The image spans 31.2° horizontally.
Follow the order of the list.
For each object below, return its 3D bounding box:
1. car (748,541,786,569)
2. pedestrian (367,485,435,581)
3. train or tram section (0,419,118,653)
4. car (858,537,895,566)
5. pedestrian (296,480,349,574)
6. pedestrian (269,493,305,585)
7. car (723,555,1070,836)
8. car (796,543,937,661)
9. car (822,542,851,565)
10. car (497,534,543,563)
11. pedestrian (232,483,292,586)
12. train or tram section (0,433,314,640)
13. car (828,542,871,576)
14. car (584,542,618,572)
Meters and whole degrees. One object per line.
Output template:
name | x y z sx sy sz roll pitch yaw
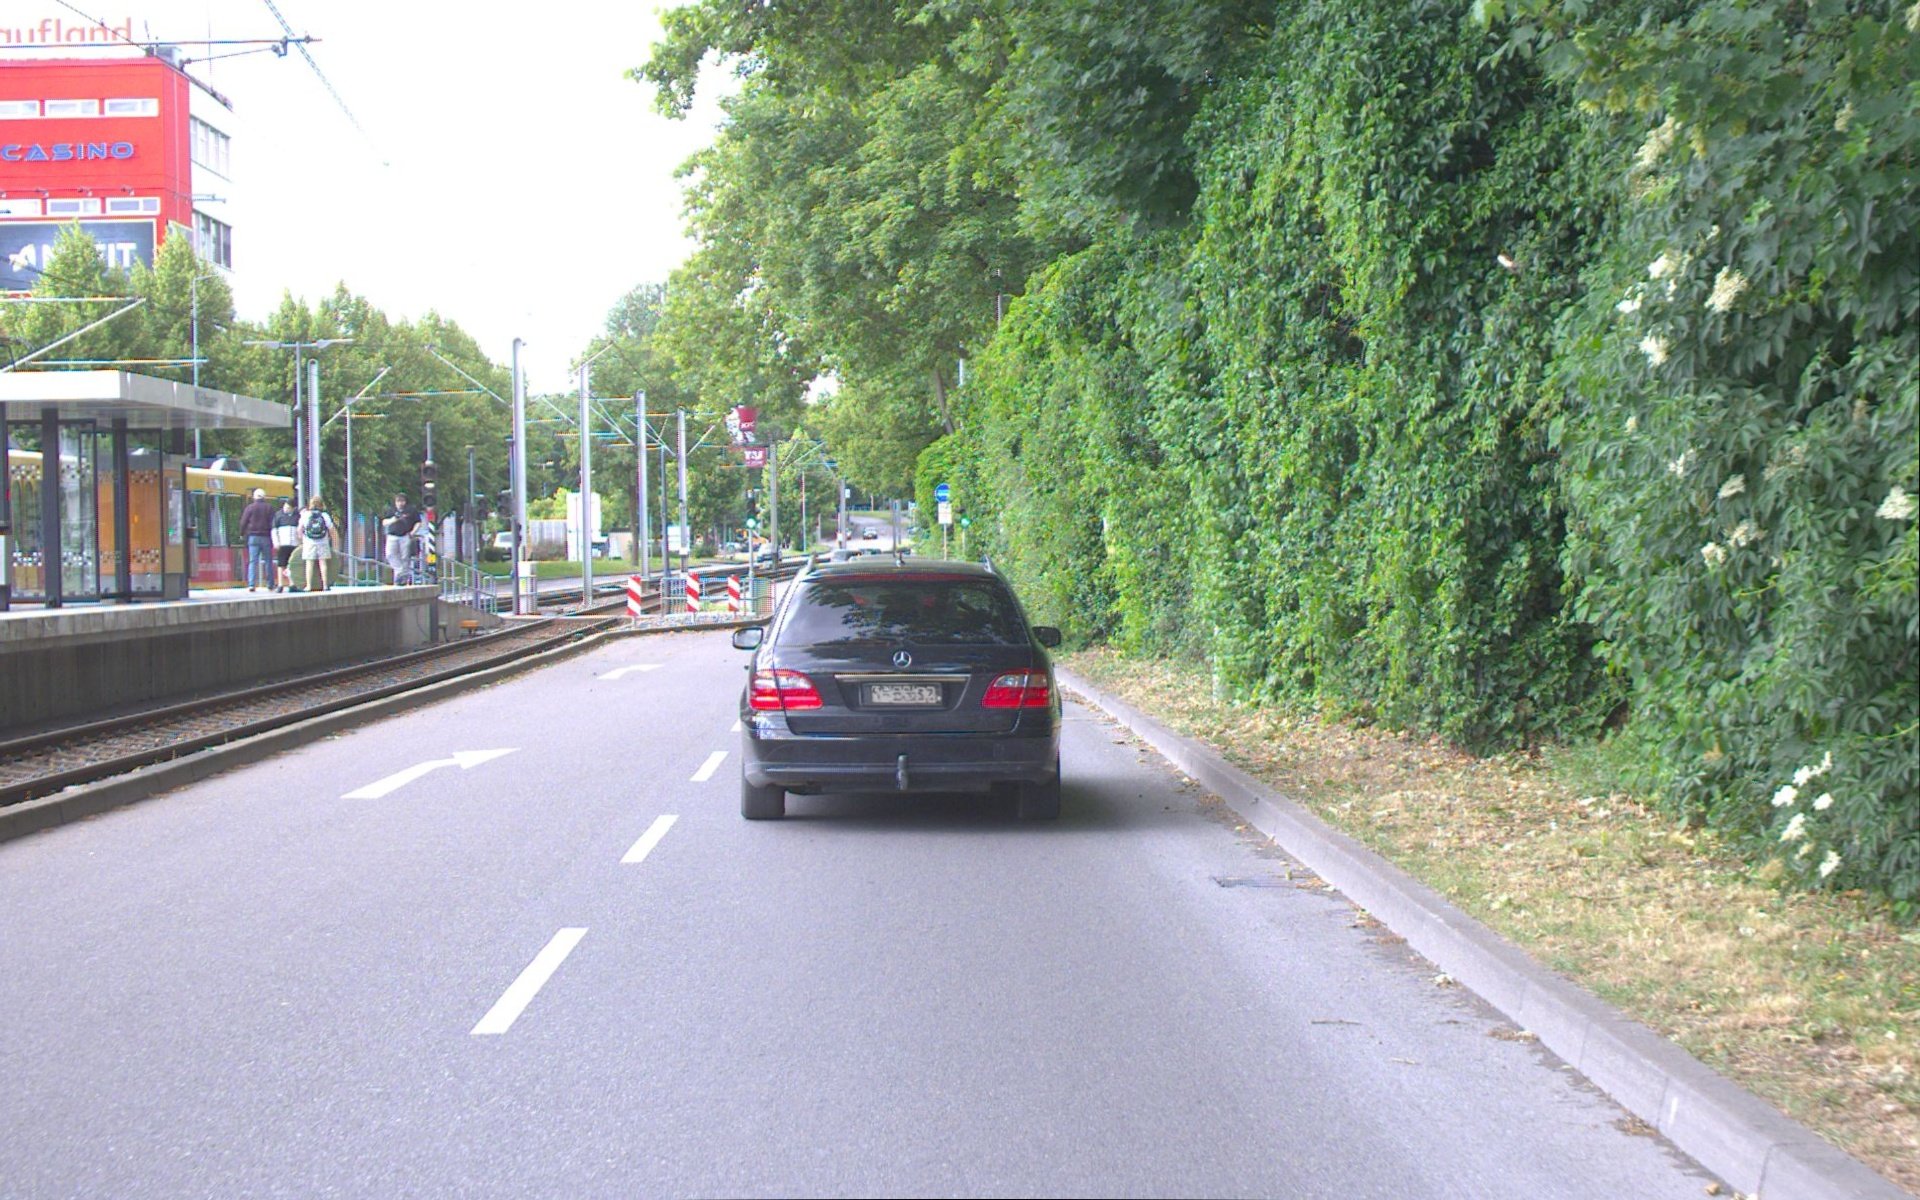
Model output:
car | -10.596 -2.486 188.909 1.825 1.524 3.928 0 1 0
pedestrian | -9.998 -1.196 61.508 0.745 1.672 0.874 -2 1 43
train or tram section | -17.277 -0.986 54.900 2.756 3.869 18.632 -2 1 1
car | -4.413 -2.579 182.124 1.825 1.524 3.928 0 1 0
pedestrian | -10.207 -1.175 55.079 0.520 1.477 0.580 -2 1 37
pedestrian | -10.937 -0.987 55.897 0.475 1.478 0.542 -2 1 -16
car | -0.359 0.476 20.423 1.833 1.473 4.416 0 1 -1
car | -1.296 -0.015 47.217 1.825 1.524 4.416 -1 1 -2
car | -8.348 -3.149 232.838 1.825 1.524 3.986 0 1 0
car | -27.182 -3.188 212.496 1.994 1.737 4.987 -1 1 3
pedestrian | -11.564 -1.084 56.962 0.771 1.672 0.791 -2 1 -1
train or tram section | -17.073 -1.250 73.567 2.756 3.815 18.631 -1 0 1
car | -5.096 -1.900 159.086 1.825 1.524 4.416 -1 1 0
car | -25.436 -3.058 243.597 1.993 2.007 4.000 -2 1 -1
